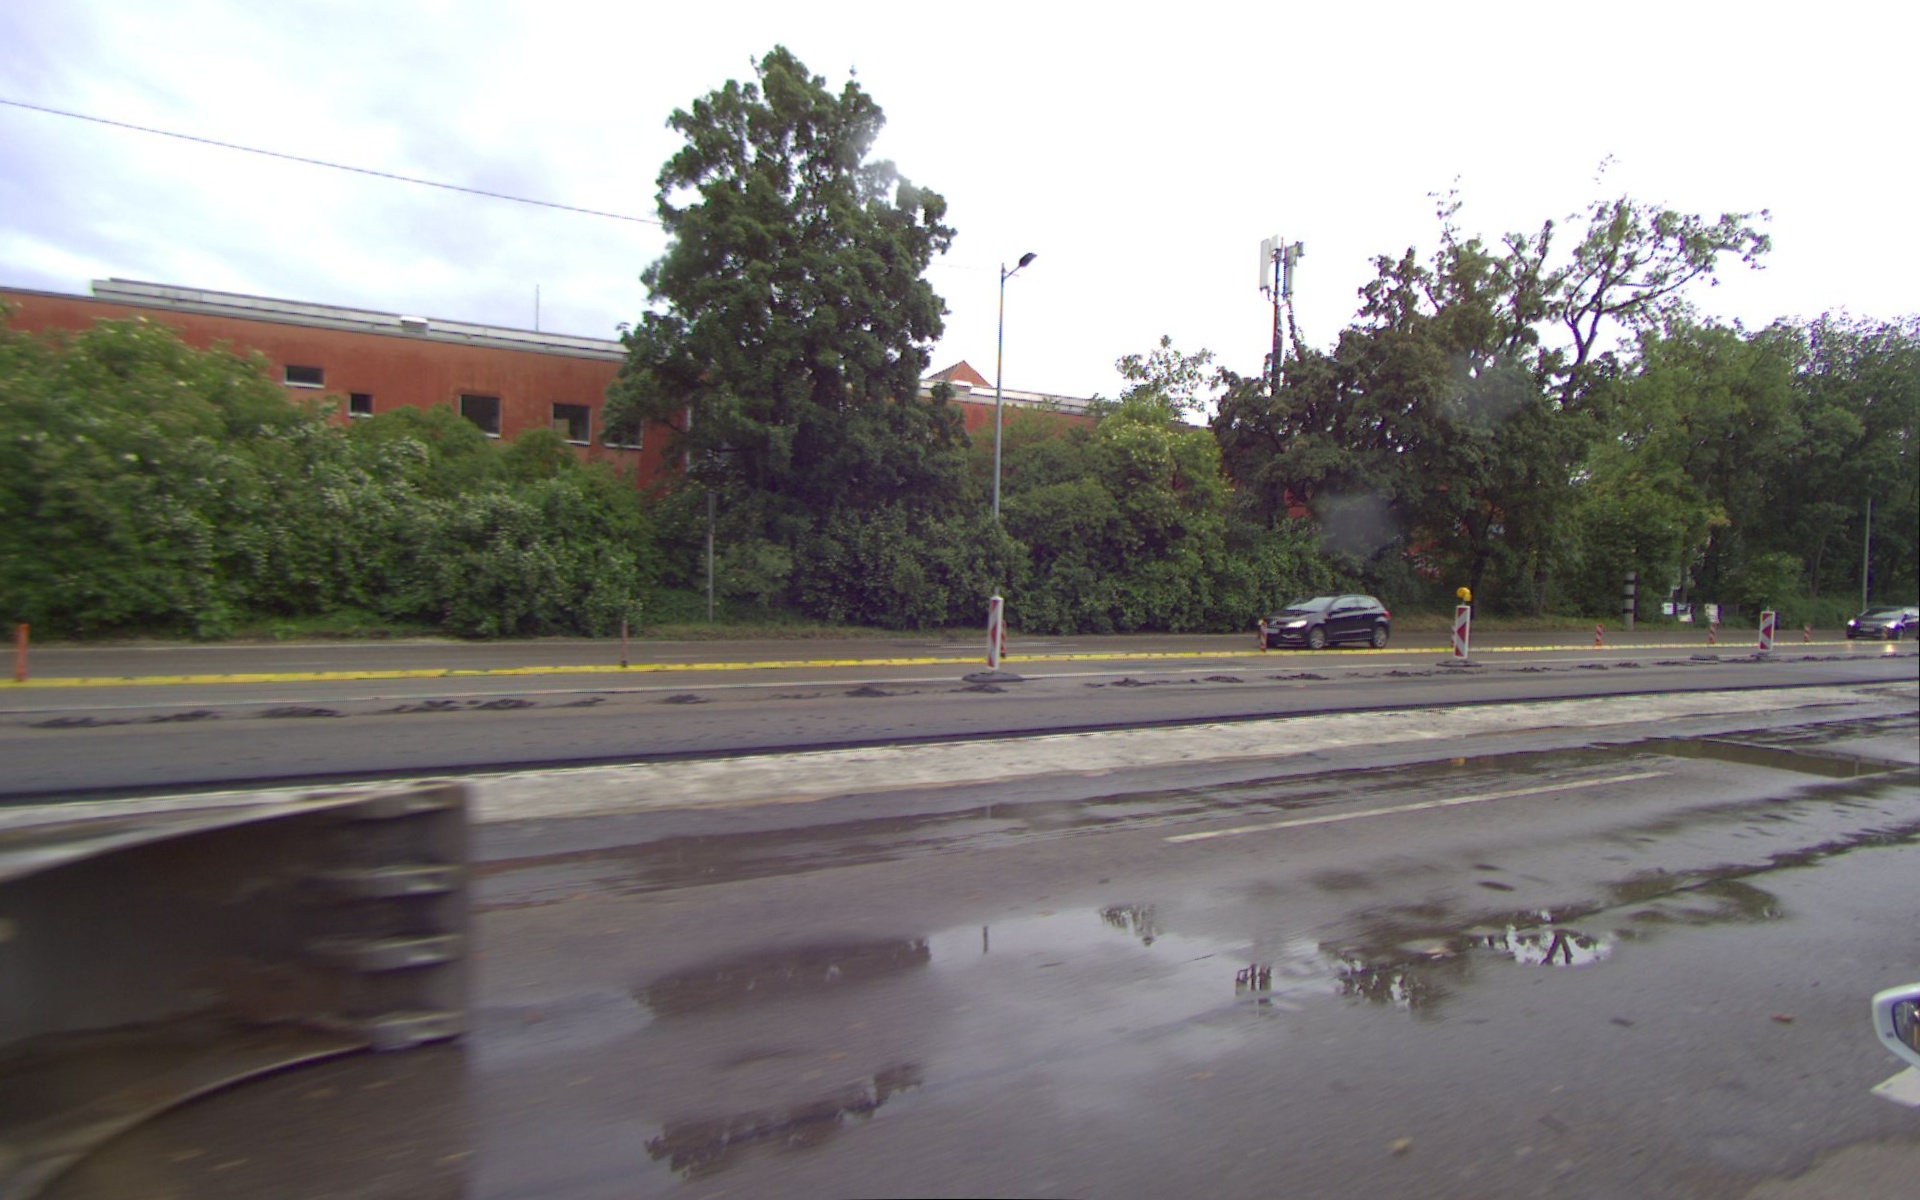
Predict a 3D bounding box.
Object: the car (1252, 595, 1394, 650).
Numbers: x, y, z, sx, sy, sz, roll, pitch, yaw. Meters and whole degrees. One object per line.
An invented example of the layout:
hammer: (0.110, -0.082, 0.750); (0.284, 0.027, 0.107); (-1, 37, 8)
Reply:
car: (9.492, 0.561, 26.197); (3.818, 1.350, 1.440); (0, 1, -32)

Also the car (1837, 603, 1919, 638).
car: (40.326, 0.850, 43.986); (4.270, 1.434, 1.661); (0, 1, -31)

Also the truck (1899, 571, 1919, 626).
truck: (55.255, -0.072, 55.952); (6.849, 2.979, 2.236); (0, 1, -29)
